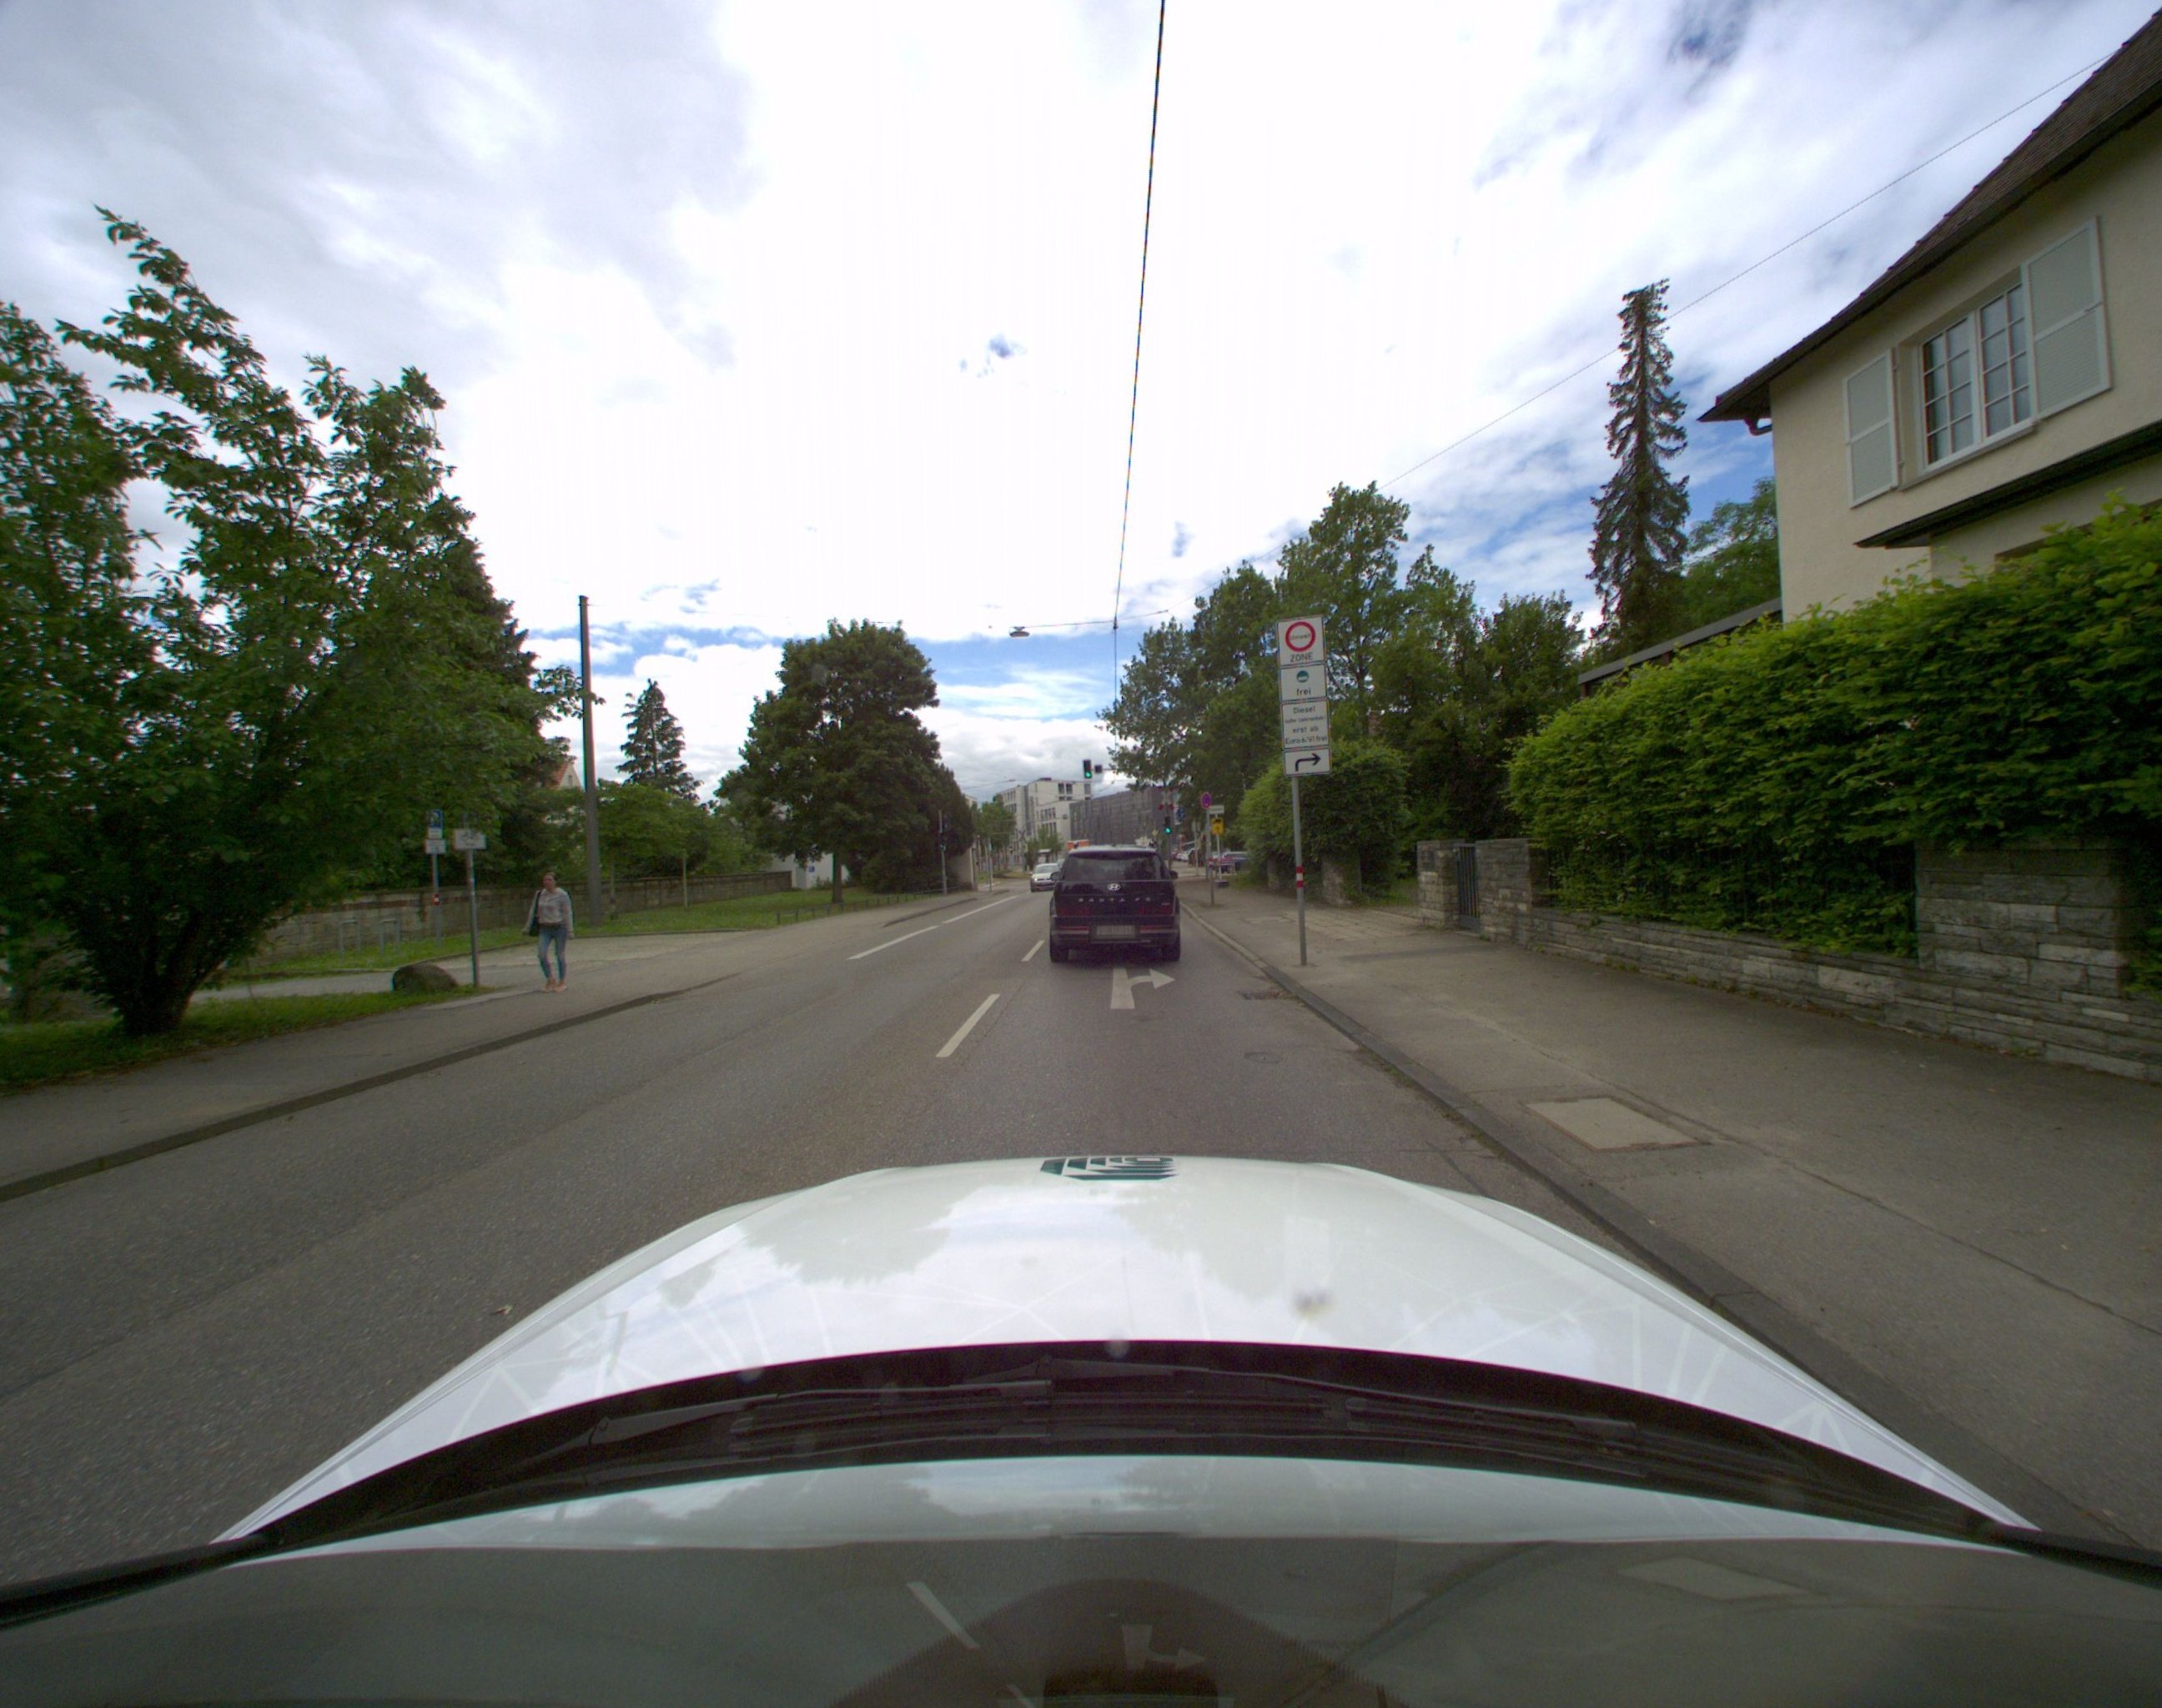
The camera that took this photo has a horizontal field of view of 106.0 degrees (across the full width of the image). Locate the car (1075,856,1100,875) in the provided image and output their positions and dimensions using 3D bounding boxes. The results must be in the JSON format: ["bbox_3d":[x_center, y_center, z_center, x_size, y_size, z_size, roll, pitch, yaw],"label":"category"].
[{"bbox_3d":[0.569,1.111,78.295,1.881,1.638,3.890,-3,0,-6],"label":"car"}]

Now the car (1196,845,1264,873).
[{"bbox_3d":[10.350,0.344,56.625,4.292,1.660,1.863,-3,0,-17],"label":"car"}]

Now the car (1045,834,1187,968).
[{"bbox_3d":[0.546,0.640,12.868,1.890,1.776,3.996,0,0,2],"label":"car"}]

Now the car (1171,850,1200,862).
[{"bbox_3d":[15.181,0.319,118.315,3.968,1.584,1.892,-3,0,5],"label":"car"}]

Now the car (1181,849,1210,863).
[{"bbox_3d":[14.950,0.269,106.503,3.672,1.584,1.690,-3,0,5],"label":"car"}]

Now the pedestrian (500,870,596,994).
[{"bbox_3d":[-7.964,1.135,12.190,0.761,1.748,0.908,-1,-1,18],"label":"pedestrian"}]

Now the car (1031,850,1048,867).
[{"bbox_3d":[-5.998,0.606,116.681,2.328,2.315,4.951,-3,0,-4],"label":"car"}]

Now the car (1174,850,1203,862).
[{"bbox_3d":[14.952,0.296,113.405,3.639,1.584,1.747,-3,0,-8],"label":"car"}]

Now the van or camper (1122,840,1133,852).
[{"bbox_3d":[8.257,-1.383,144.674,1.790,1.999,3.821,0,0,-1],"label":"van or camper"}]

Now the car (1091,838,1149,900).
[{"bbox_3d":[1.366,0.498,28.768,1.890,2.042,3.996,0,0,2],"label":"car"}]

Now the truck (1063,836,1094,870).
[{"bbox_3d":[-0.424,-0.130,100.875,3.101,3.859,9.608,-3,0,-3],"label":"truck"}]

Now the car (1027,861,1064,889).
[{"bbox_3d":[-1.989,1.120,44.928,1.880,1.420,3.995,-3,0,-4],"label":"car"}]

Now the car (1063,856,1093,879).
[{"bbox_3d":[-0.271,1.043,62.403,1.881,1.638,3.890,-3,0,-6],"label":"car"}]
